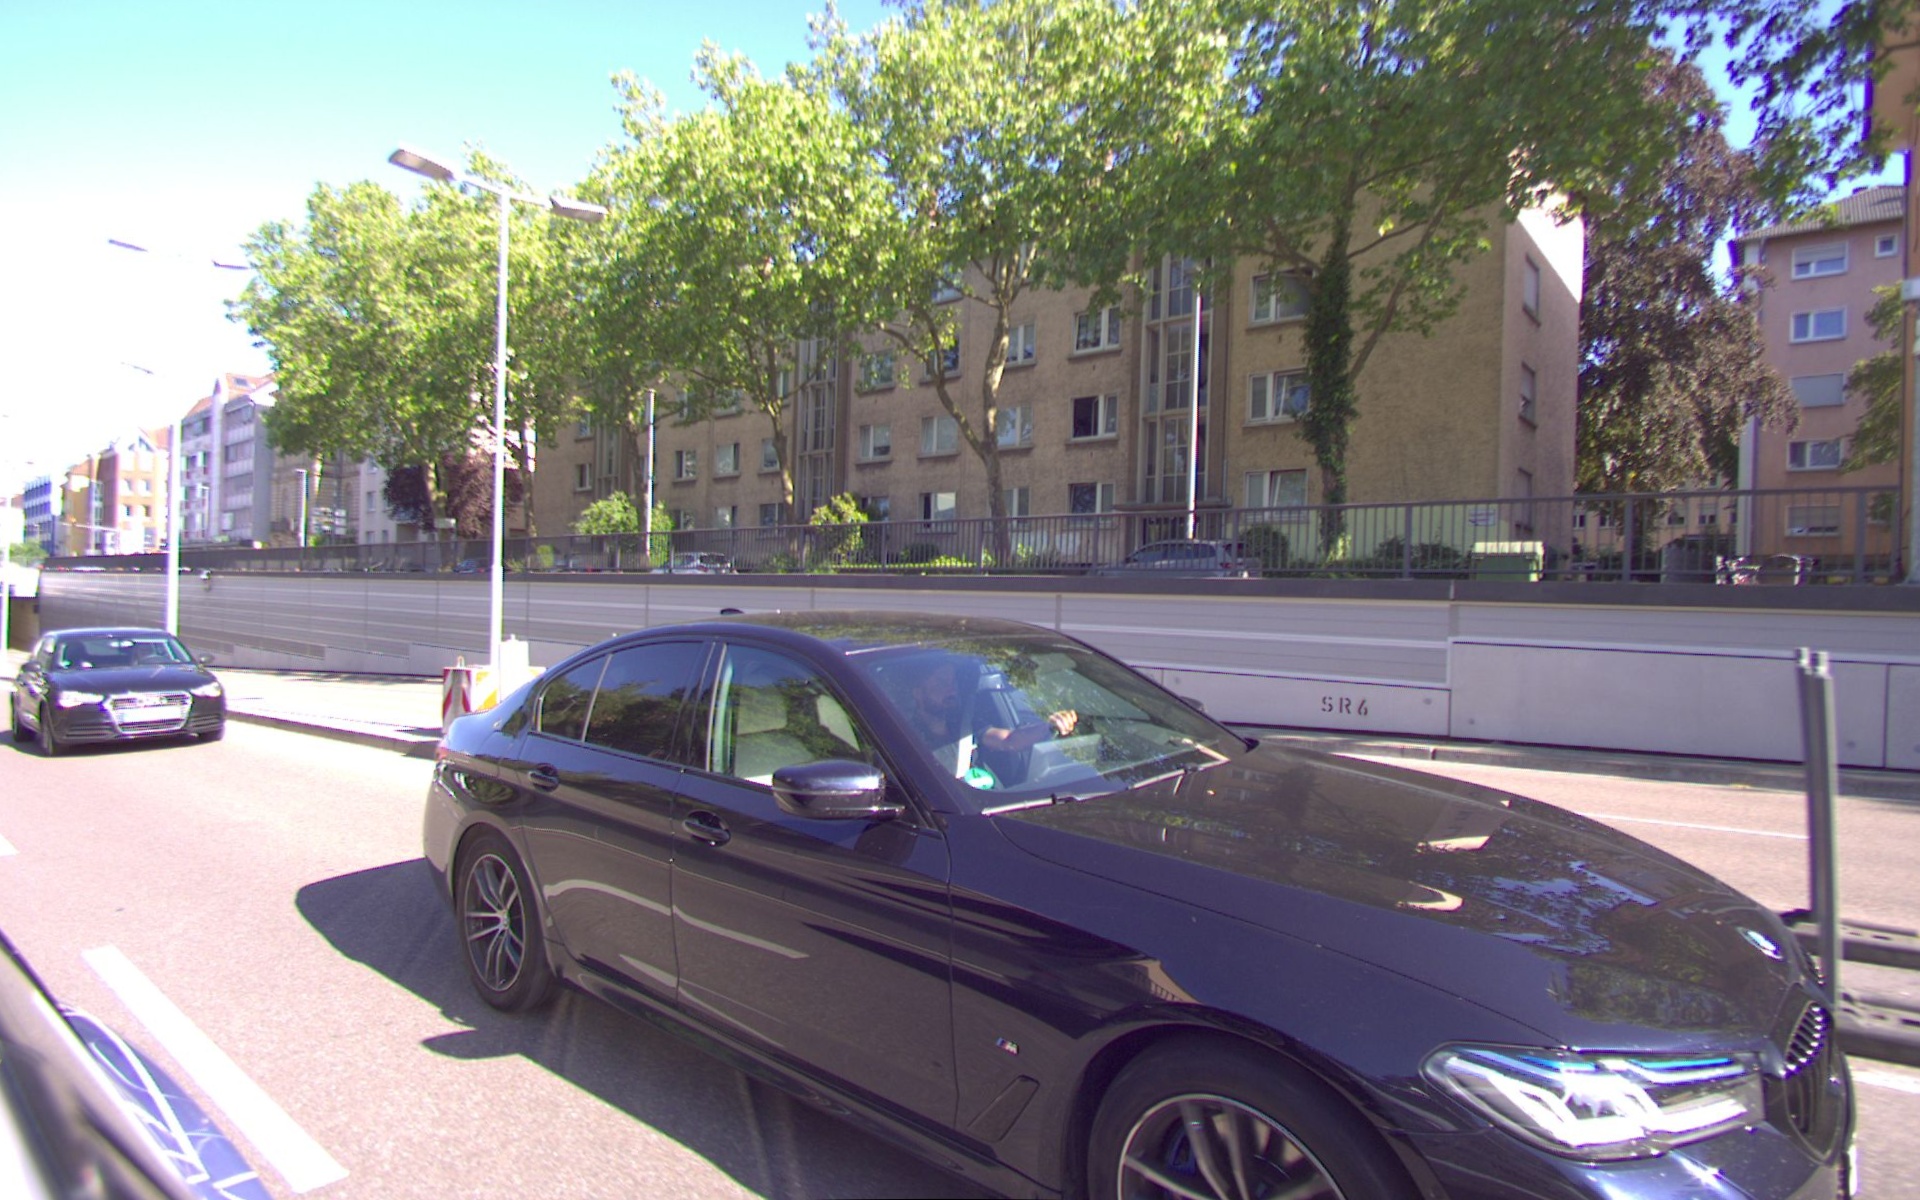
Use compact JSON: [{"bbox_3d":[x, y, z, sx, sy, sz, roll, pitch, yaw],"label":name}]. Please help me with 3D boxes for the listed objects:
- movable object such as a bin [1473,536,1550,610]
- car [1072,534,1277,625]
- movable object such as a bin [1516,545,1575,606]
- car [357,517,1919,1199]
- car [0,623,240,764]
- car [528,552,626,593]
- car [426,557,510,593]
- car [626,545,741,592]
[{"bbox_3d":[11.657,-0.557,21.382,1.354,1.495,1.196,0,0,33],"label":"movable object such as a bin"},{"bbox_3d":[5.026,-0.464,24.045,4.411,1.975,1.945,0,1,41],"label":"car"},{"bbox_3d":[14.854,-0.617,25.679,1.146,1.495,1.301,0,0,38],"label":"movable object such as a bin"},{"bbox_3d":[-0.037,0.688,3.317,4.998,1.450,1.790,-2,-1,40],"label":"car"},{"bbox_3d":[-10.509,1.075,12.520,3.885,1.429,1.678,-3,-2,40],"label":"car"},{"bbox_3d":[-16.001,-1.115,42.198,4.299,1.596,1.902,0,1,39],"label":"car"},{"bbox_3d":[-23.371,-1.150,48.019,4.299,1.596,1.902,0,1,39],"label":"car"},{"bbox_3d":[-10.091,-1.112,36.854,4.299,1.596,1.902,0,1,39],"label":"car"}]
